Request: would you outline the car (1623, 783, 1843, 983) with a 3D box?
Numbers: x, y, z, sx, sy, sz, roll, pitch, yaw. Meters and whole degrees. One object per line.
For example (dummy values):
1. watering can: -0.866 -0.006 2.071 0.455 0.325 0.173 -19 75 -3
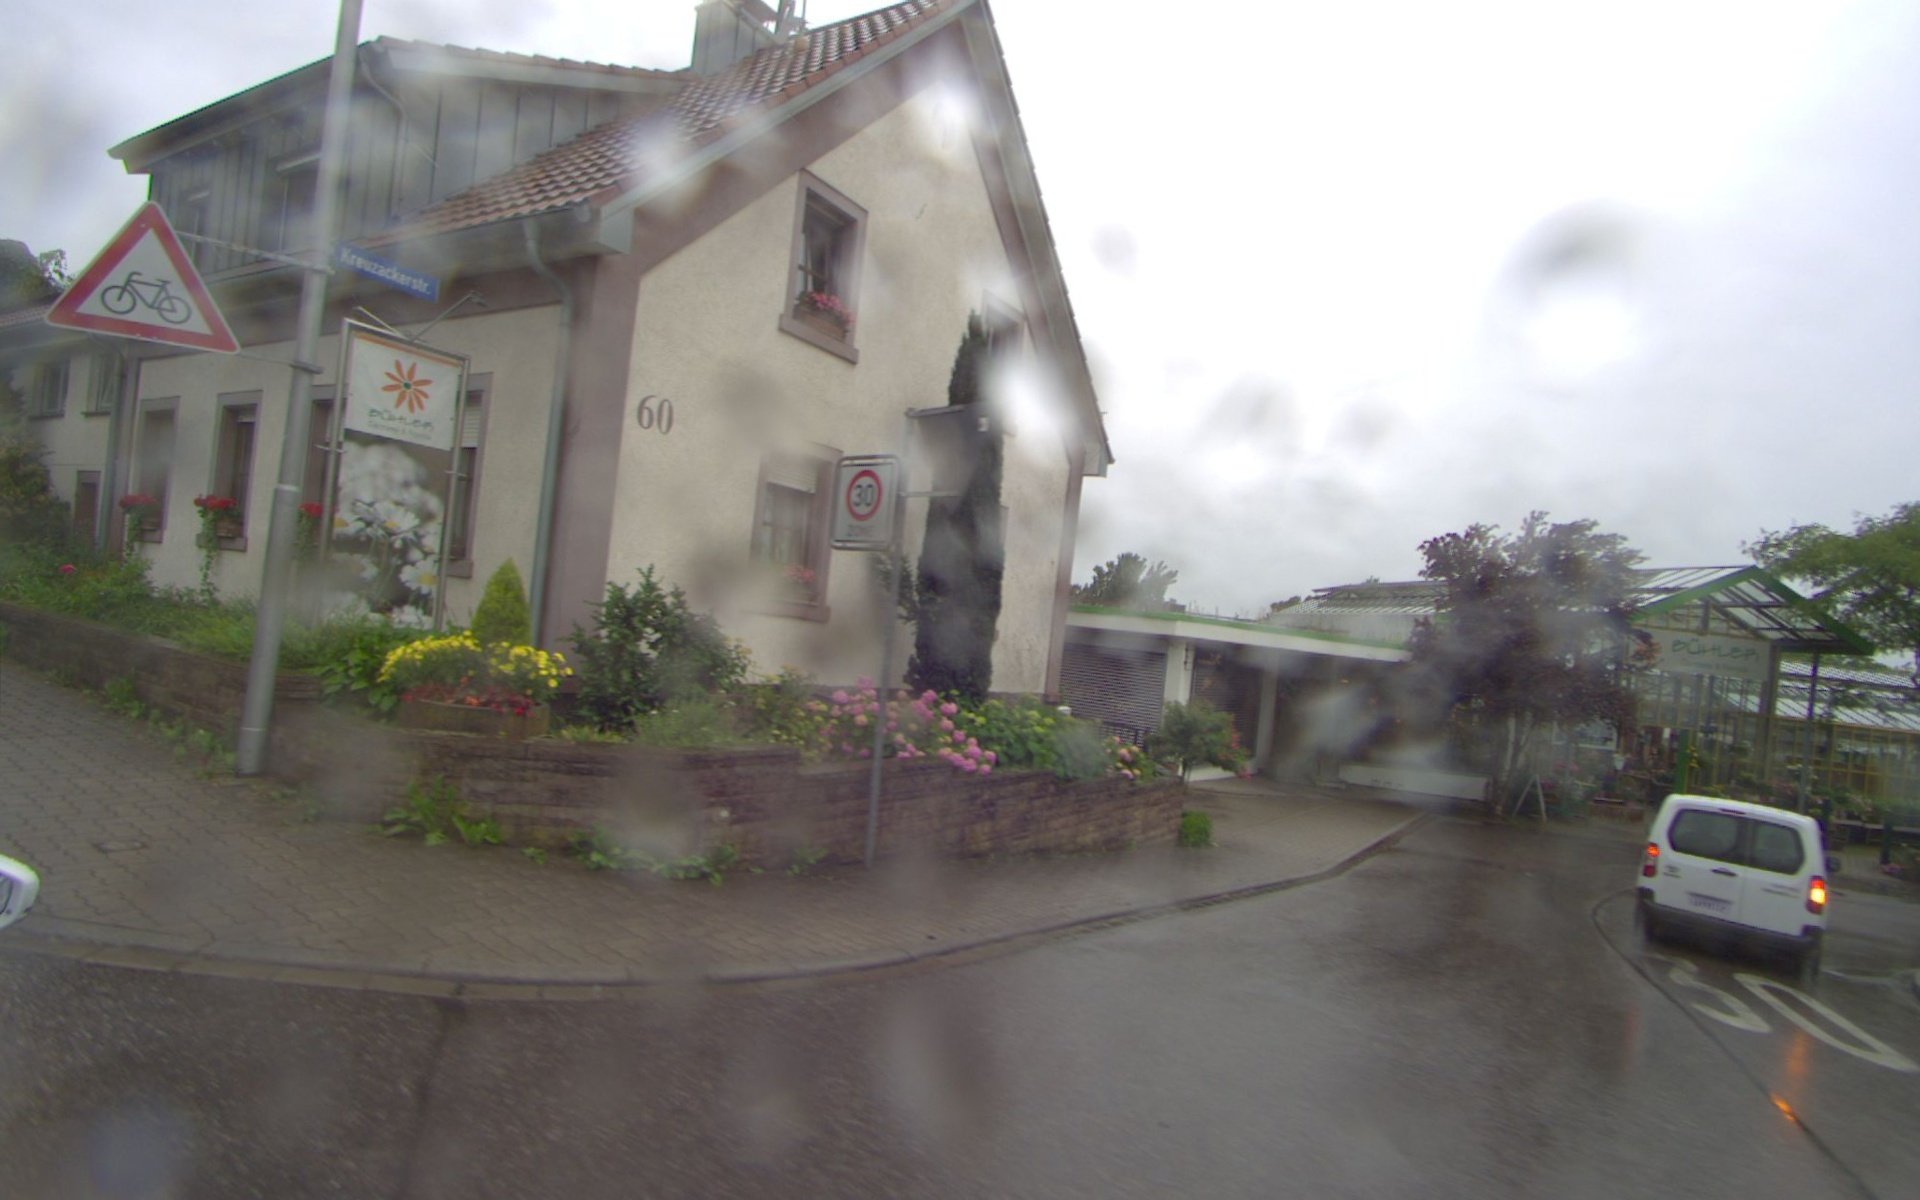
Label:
1. car: 9.985 3.527 12.977 1.876 1.823 3.994 4 -8 40
